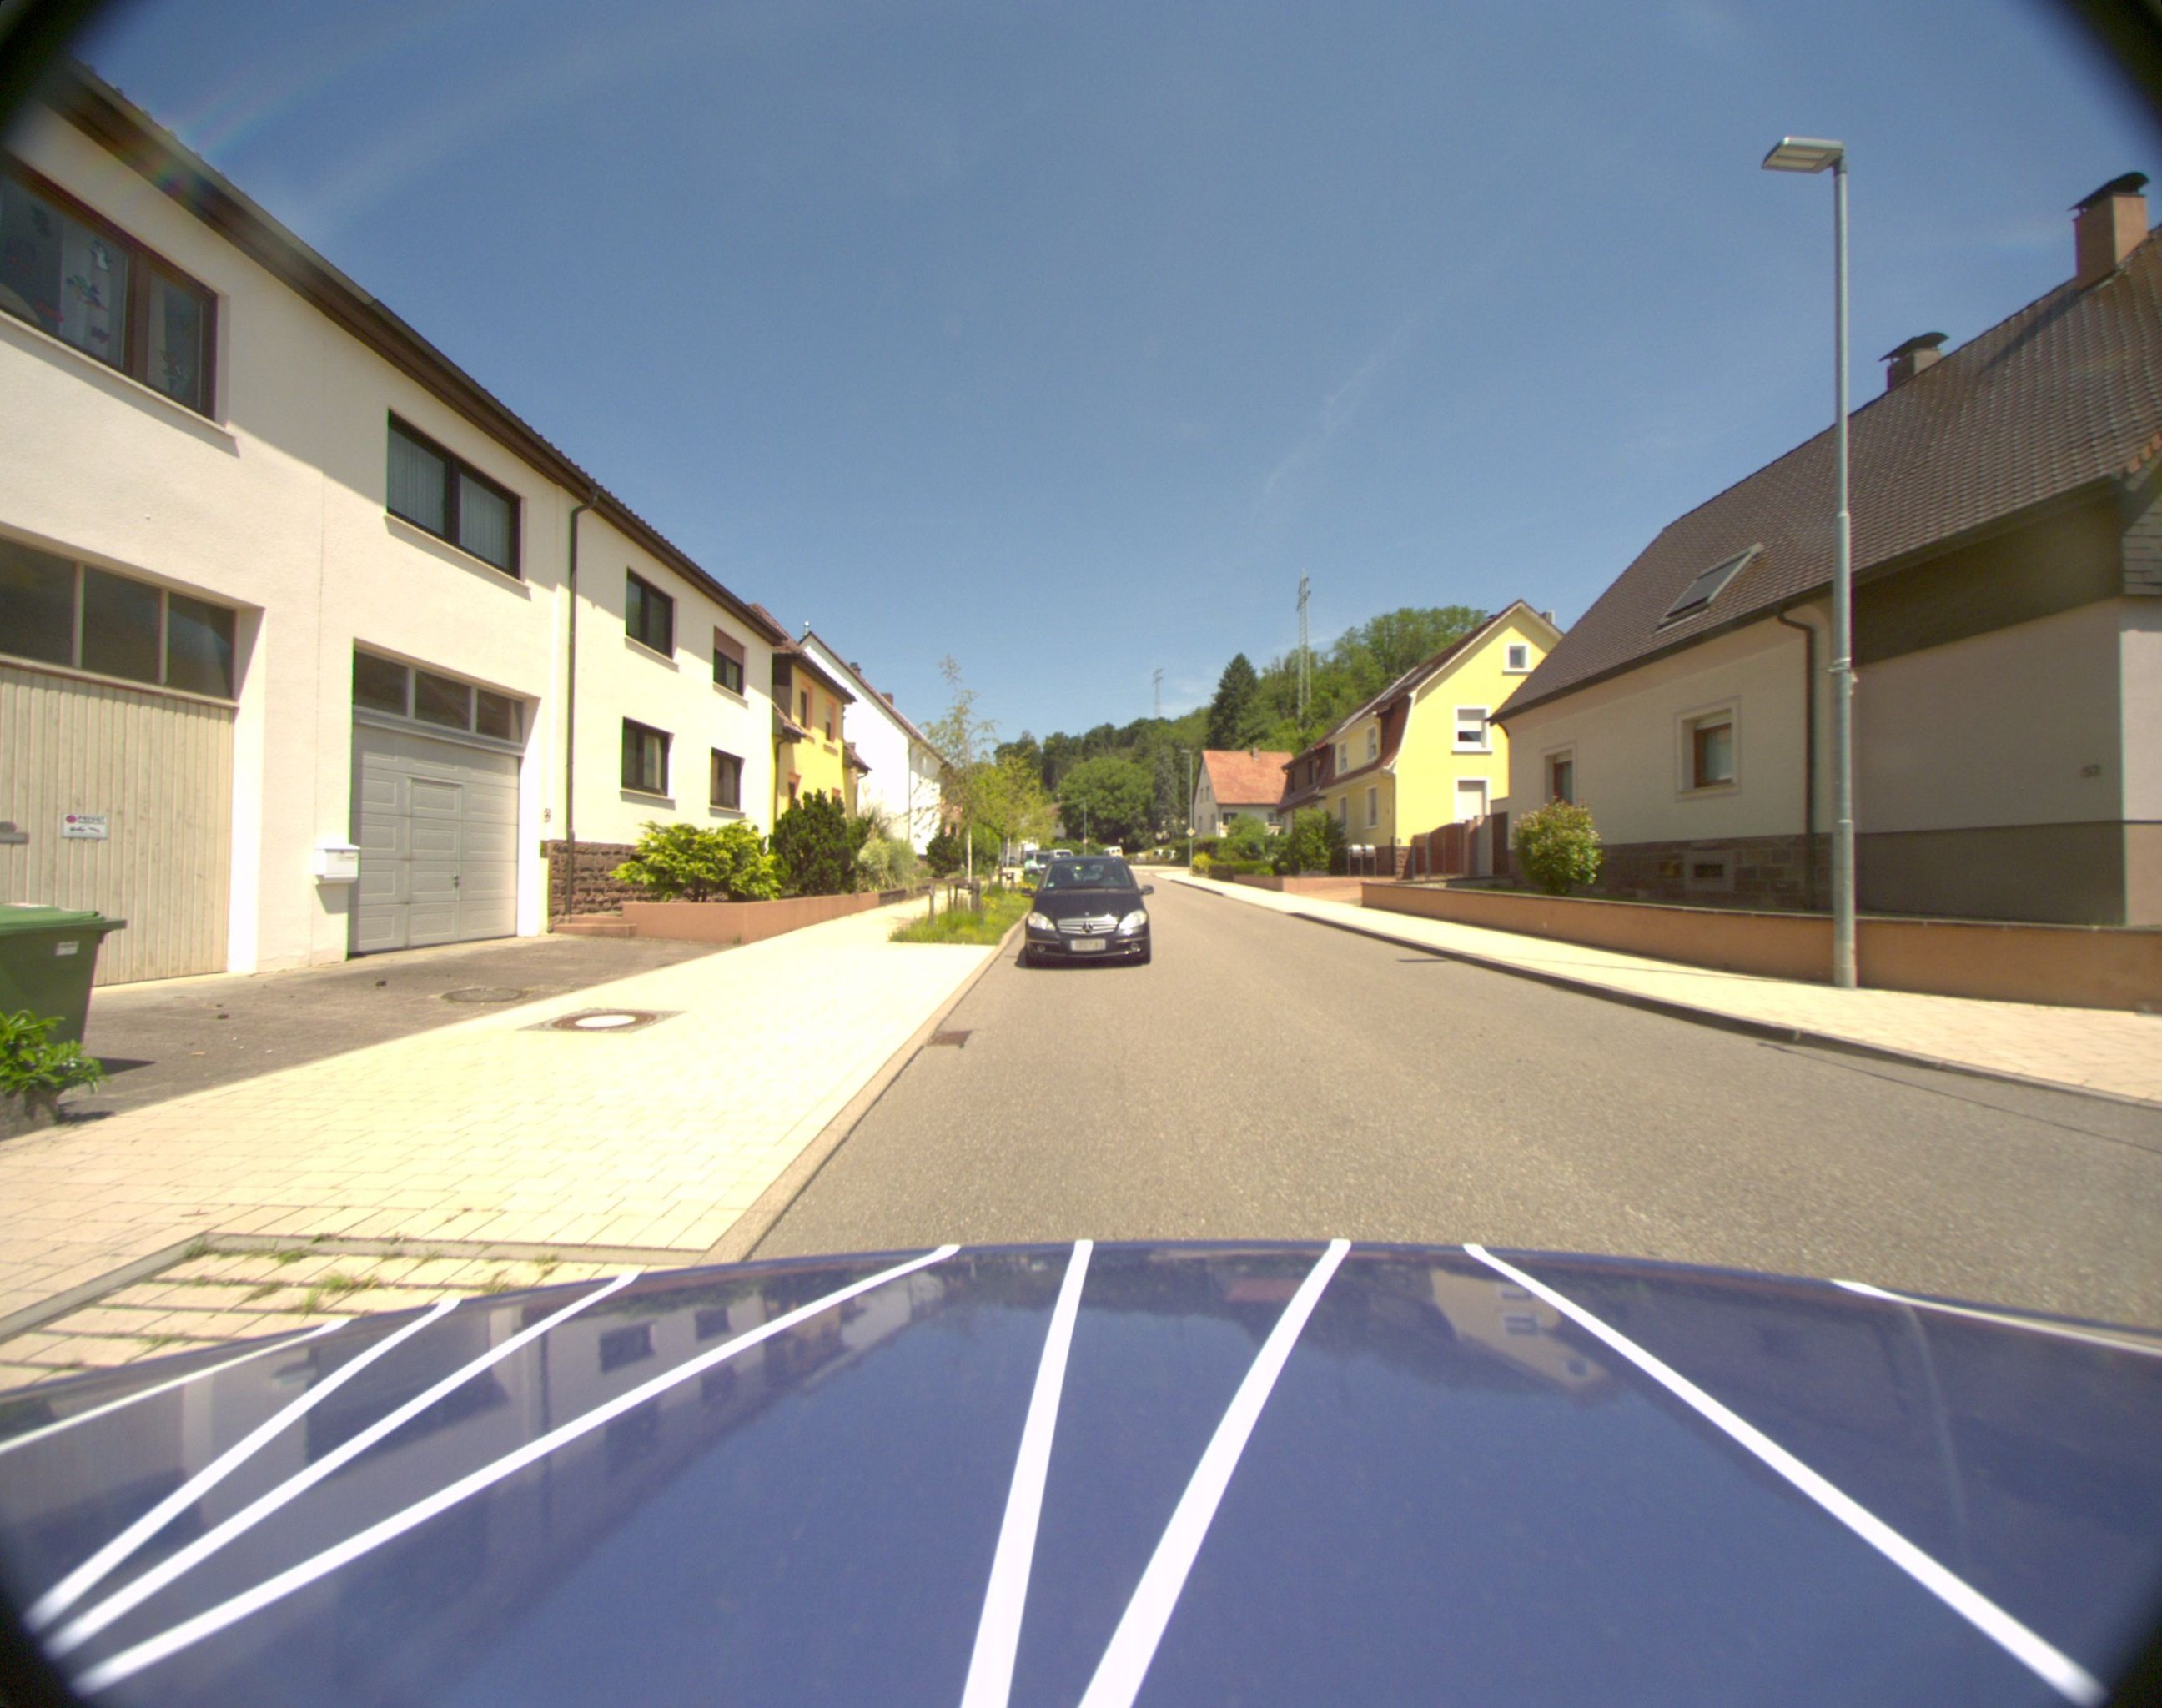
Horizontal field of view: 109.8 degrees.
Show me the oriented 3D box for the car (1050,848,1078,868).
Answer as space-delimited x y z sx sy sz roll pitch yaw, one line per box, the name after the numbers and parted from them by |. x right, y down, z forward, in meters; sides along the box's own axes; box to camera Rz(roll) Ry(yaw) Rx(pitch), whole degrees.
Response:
-1.629 0.365 71.463 1.970 1.823 4.460 1 0 -11 | car

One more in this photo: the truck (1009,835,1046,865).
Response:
-6.562 -0.477 92.008 2.809 3.394 8.109 -2 0 -15 | truck

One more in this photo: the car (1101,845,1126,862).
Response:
3.823 -0.116 90.718 1.706 1.937 3.993 -1 1 -18 | car

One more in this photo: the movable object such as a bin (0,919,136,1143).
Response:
-6.077 0.972 4.197 0.685 1.109 0.812 3 1 6 | movable object such as a bin

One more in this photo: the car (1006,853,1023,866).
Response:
-7.402 0.584 83.872 1.676 1.368 3.997 1 0 -8 | car

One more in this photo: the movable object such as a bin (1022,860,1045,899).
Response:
-1.752 0.930 28.201 0.794 1.387 0.925 -1 1 -2 | movable object such as a bin

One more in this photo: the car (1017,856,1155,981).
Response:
0.147 0.876 12.188 1.790 1.595 4.075 -2 0 2 | car

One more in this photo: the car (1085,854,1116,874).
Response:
1.358 0.678 54.346 1.910 1.342 3.998 0 0 -3 | car

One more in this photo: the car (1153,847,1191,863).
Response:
10.500 0.104 88.024 4.004 1.779 1.807 -1 1 -22 | car

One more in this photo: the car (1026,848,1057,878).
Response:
-2.555 0.552 49.271 1.860 1.832 4.669 2 0 -3 | car
